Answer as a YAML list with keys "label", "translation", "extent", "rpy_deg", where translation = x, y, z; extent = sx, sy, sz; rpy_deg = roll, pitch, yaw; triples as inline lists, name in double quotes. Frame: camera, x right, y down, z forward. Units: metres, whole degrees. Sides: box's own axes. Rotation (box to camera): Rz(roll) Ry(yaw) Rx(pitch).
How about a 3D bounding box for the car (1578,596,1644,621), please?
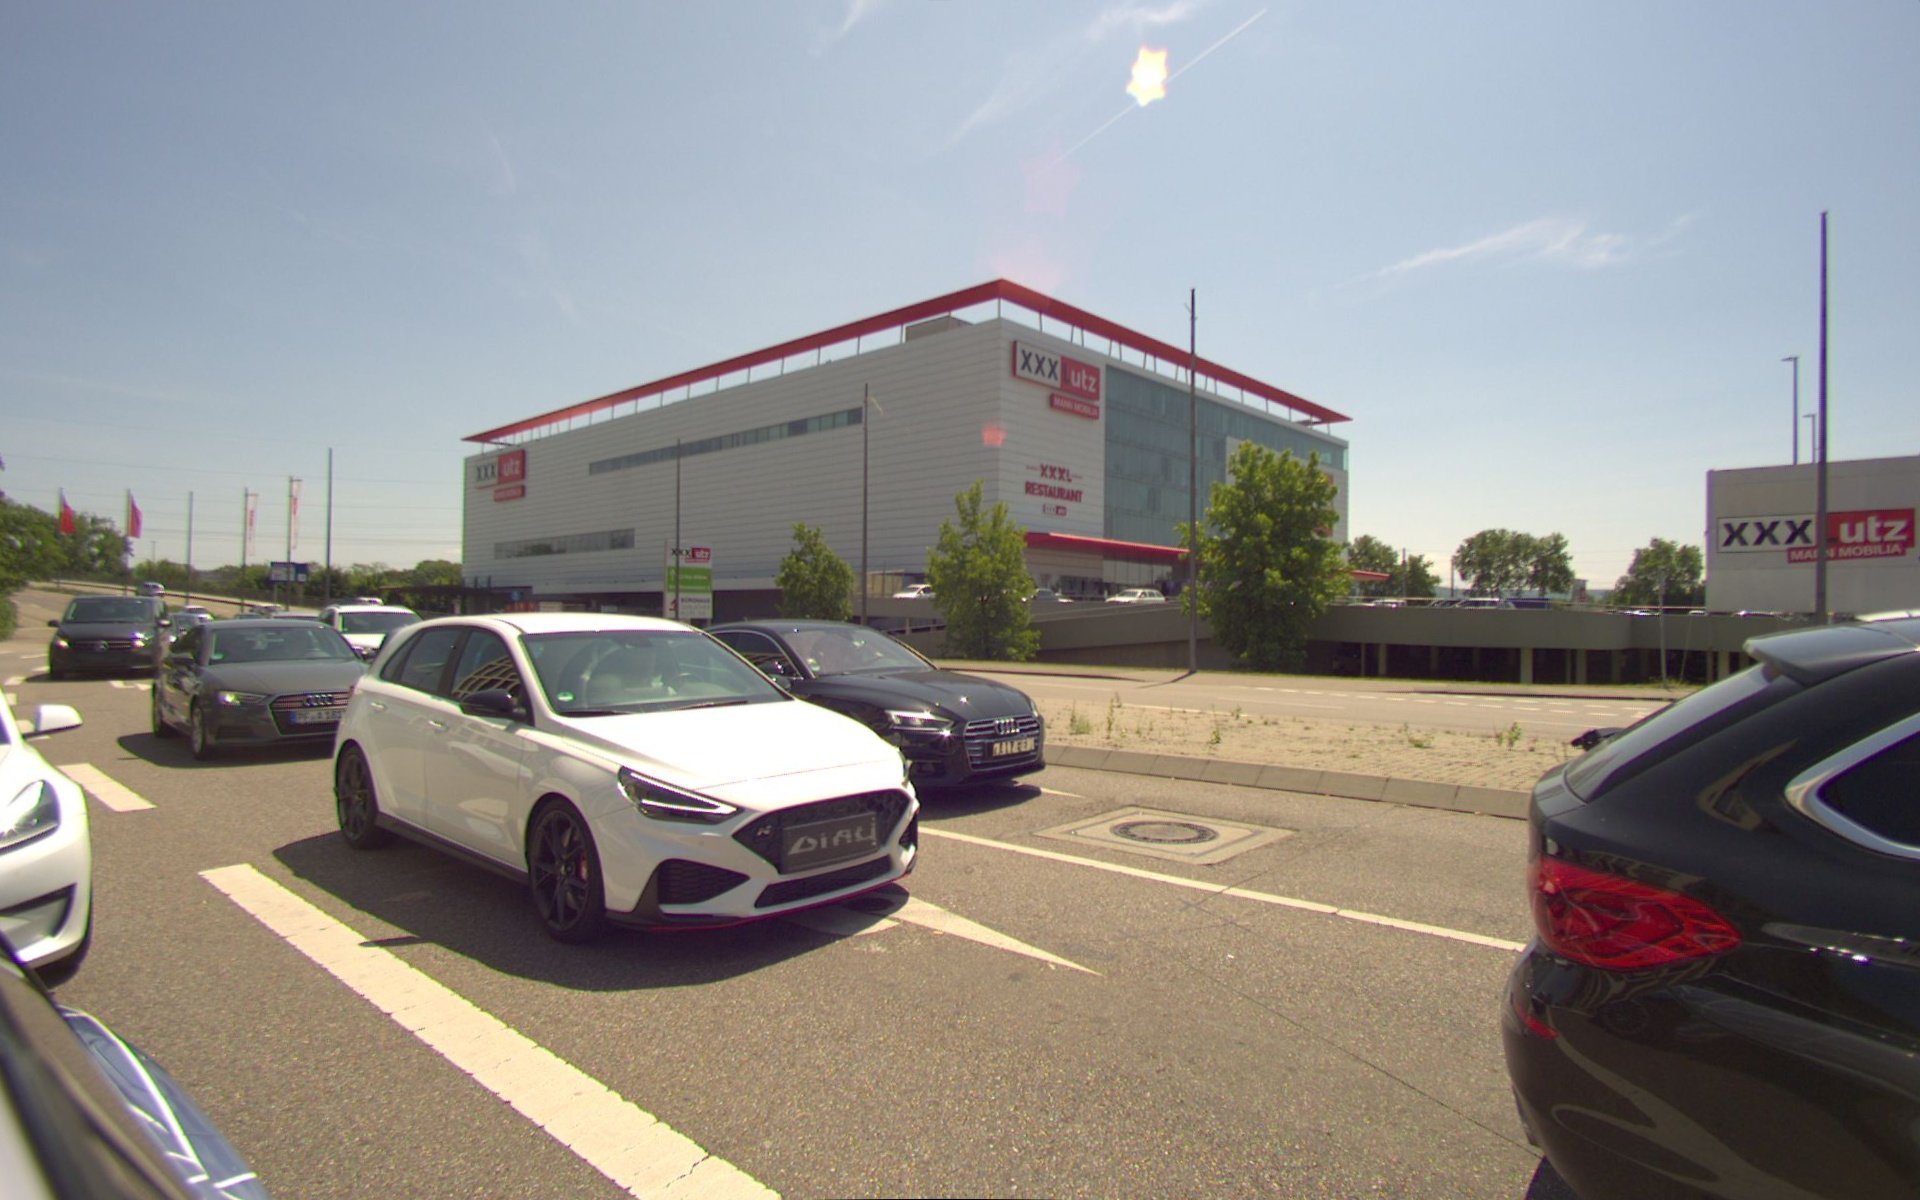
- label: "car"
  translation: [53.207, 0.695, 82.788]
  extent: [4.328, 2.029, 1.972]
  rpy_deg: [0, -2, 42]

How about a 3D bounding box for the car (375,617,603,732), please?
- label: "car"
  translation: [-7.035, 0.986, 14.866]
  extent: [1.744, 1.413, 4.435]
  rpy_deg: [0, -1, -43]

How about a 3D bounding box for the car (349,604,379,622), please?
- label: "car"
  translation: [-79.709, 1.752, 135.330]
  extent: [4.815, 2.300, 2.162]
  rpy_deg: [-1, -2, 44]

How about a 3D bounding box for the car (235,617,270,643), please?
- label: "car"
  translation: [-45.190, 1.913, 64.690]
  extent: [1.698, 1.564, 4.011]
  rpy_deg: [1, -2, -33]

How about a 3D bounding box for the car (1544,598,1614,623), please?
- label: "car"
  translation: [45.128, 0.761, 73.874]
  extent: [4.134, 1.754, 1.759]
  rpy_deg: [0, -2, 42]

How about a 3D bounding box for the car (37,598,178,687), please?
- label: "car"
  translation: [-19.619, 0.923, 23.506]
  extent: [1.865, 1.835, 4.850]
  rpy_deg: [1, -1, -33]

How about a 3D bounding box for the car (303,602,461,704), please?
- label: "car"
  translation: [-10.861, 0.901, 18.860]
  extent: [1.743, 1.653, 4.498]
  rpy_deg: [0, 0, -40]

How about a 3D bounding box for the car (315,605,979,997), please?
- label: "car"
  translation: [-2.011, 0.776, 5.782]
  extent: [4.068, 1.447, 1.769]
  rpy_deg: [-1, -1, 41]

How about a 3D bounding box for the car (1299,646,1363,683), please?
- label: "car"
  translation: [19.084, 3.286, 51.963]
  extent: [1.997, 1.719, 3.949]
  rpy_deg: [-1, -2, 38]

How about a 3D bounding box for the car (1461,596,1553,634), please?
- label: "car"
  translation: [30.907, 0.848, 57.200]
  extent: [4.323, 2.029, 1.975]
  rpy_deg: [0, -2, 38]

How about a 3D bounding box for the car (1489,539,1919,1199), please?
- label: "car"
  translation: [3.285, 0.626, 1.085]
  extent: [4.553, 1.451, 1.779]
  rpy_deg: [-1, -1, 40]

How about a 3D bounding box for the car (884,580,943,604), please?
- label: "car"
  translation: [-3.146, -0.514, 69.127]
  extent: [1.718, 1.519, 3.941]
  rpy_deg: [-1, -2, 45]

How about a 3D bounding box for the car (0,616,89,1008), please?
- label: "car"
  translation: [-5.588, 0.814, 4.668]
  extent: [4.282, 1.447, 1.800]
  rpy_deg: [-1, 0, 41]

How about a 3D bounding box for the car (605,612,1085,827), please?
- label: "car"
  translation: [-1.226, 0.862, 8.887]
  extent: [4.466, 1.415, 1.654]
  rpy_deg: [-2, -1, 42]

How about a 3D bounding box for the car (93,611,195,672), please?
- label: "car"
  translation: [-23.466, 1.163, 29.237]
  extent: [1.784, 1.652, 4.011]
  rpy_deg: [1, -2, -32]

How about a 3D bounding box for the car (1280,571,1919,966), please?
- label: "car"
  translation: [3.728, 0.618, 4.582]
  extent: [4.009, 1.433, 1.674]
  rpy_deg: [-2, -1, 43]

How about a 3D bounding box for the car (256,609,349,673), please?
- label: "car"
  translation: [-16.452, 0.981, 25.263]
  extent: [1.741, 1.433, 3.908]
  rpy_deg: [-1, -1, -36]

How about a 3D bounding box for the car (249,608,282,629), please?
- label: "car"
  translation: [-60.272, 1.641, 87.833]
  extent: [1.839, 1.736, 4.048]
  rpy_deg: [2, -2, -42]

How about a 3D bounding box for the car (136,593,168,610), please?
- label: "car"
  translation: [-90.377, 0.209, 113.219]
  extent: [4.035, 1.736, 1.845]
  rpy_deg: [-2, -3, 37]

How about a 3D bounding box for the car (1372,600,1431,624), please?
- label: "car"
  translation: [36.014, 0.990, 82.600]
  extent: [4.000, 1.915, 1.972]
  rpy_deg: [-1, -2, 43]

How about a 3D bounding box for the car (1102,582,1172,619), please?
- label: "car"
  translation: [10.111, 0.064, 57.586]
  extent: [4.407, 2.029, 1.680]
  rpy_deg: [2, -2, -44]

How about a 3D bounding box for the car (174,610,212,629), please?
- label: "car"
  translation: [-61.635, 1.575, 81.341]
  extent: [3.999, 1.483, 1.703]
  rpy_deg: [-1, -2, 42]

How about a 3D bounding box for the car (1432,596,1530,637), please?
- label: "car"
  translation: [27.253, 0.868, 52.983]
  extent: [4.323, 2.029, 1.974]
  rpy_deg: [0, -2, 38]

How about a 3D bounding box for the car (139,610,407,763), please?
- label: "car"
  translation: [-7.781, 0.837, 11.296]
  extent: [1.744, 1.393, 4.092]
  rpy_deg: [2, -2, -45]

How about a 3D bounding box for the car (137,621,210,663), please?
- label: "car"
  translation: [-28.201, 1.480, 36.376]
  extent: [1.582, 1.451, 3.744]
  rpy_deg: [1, -2, -30]
